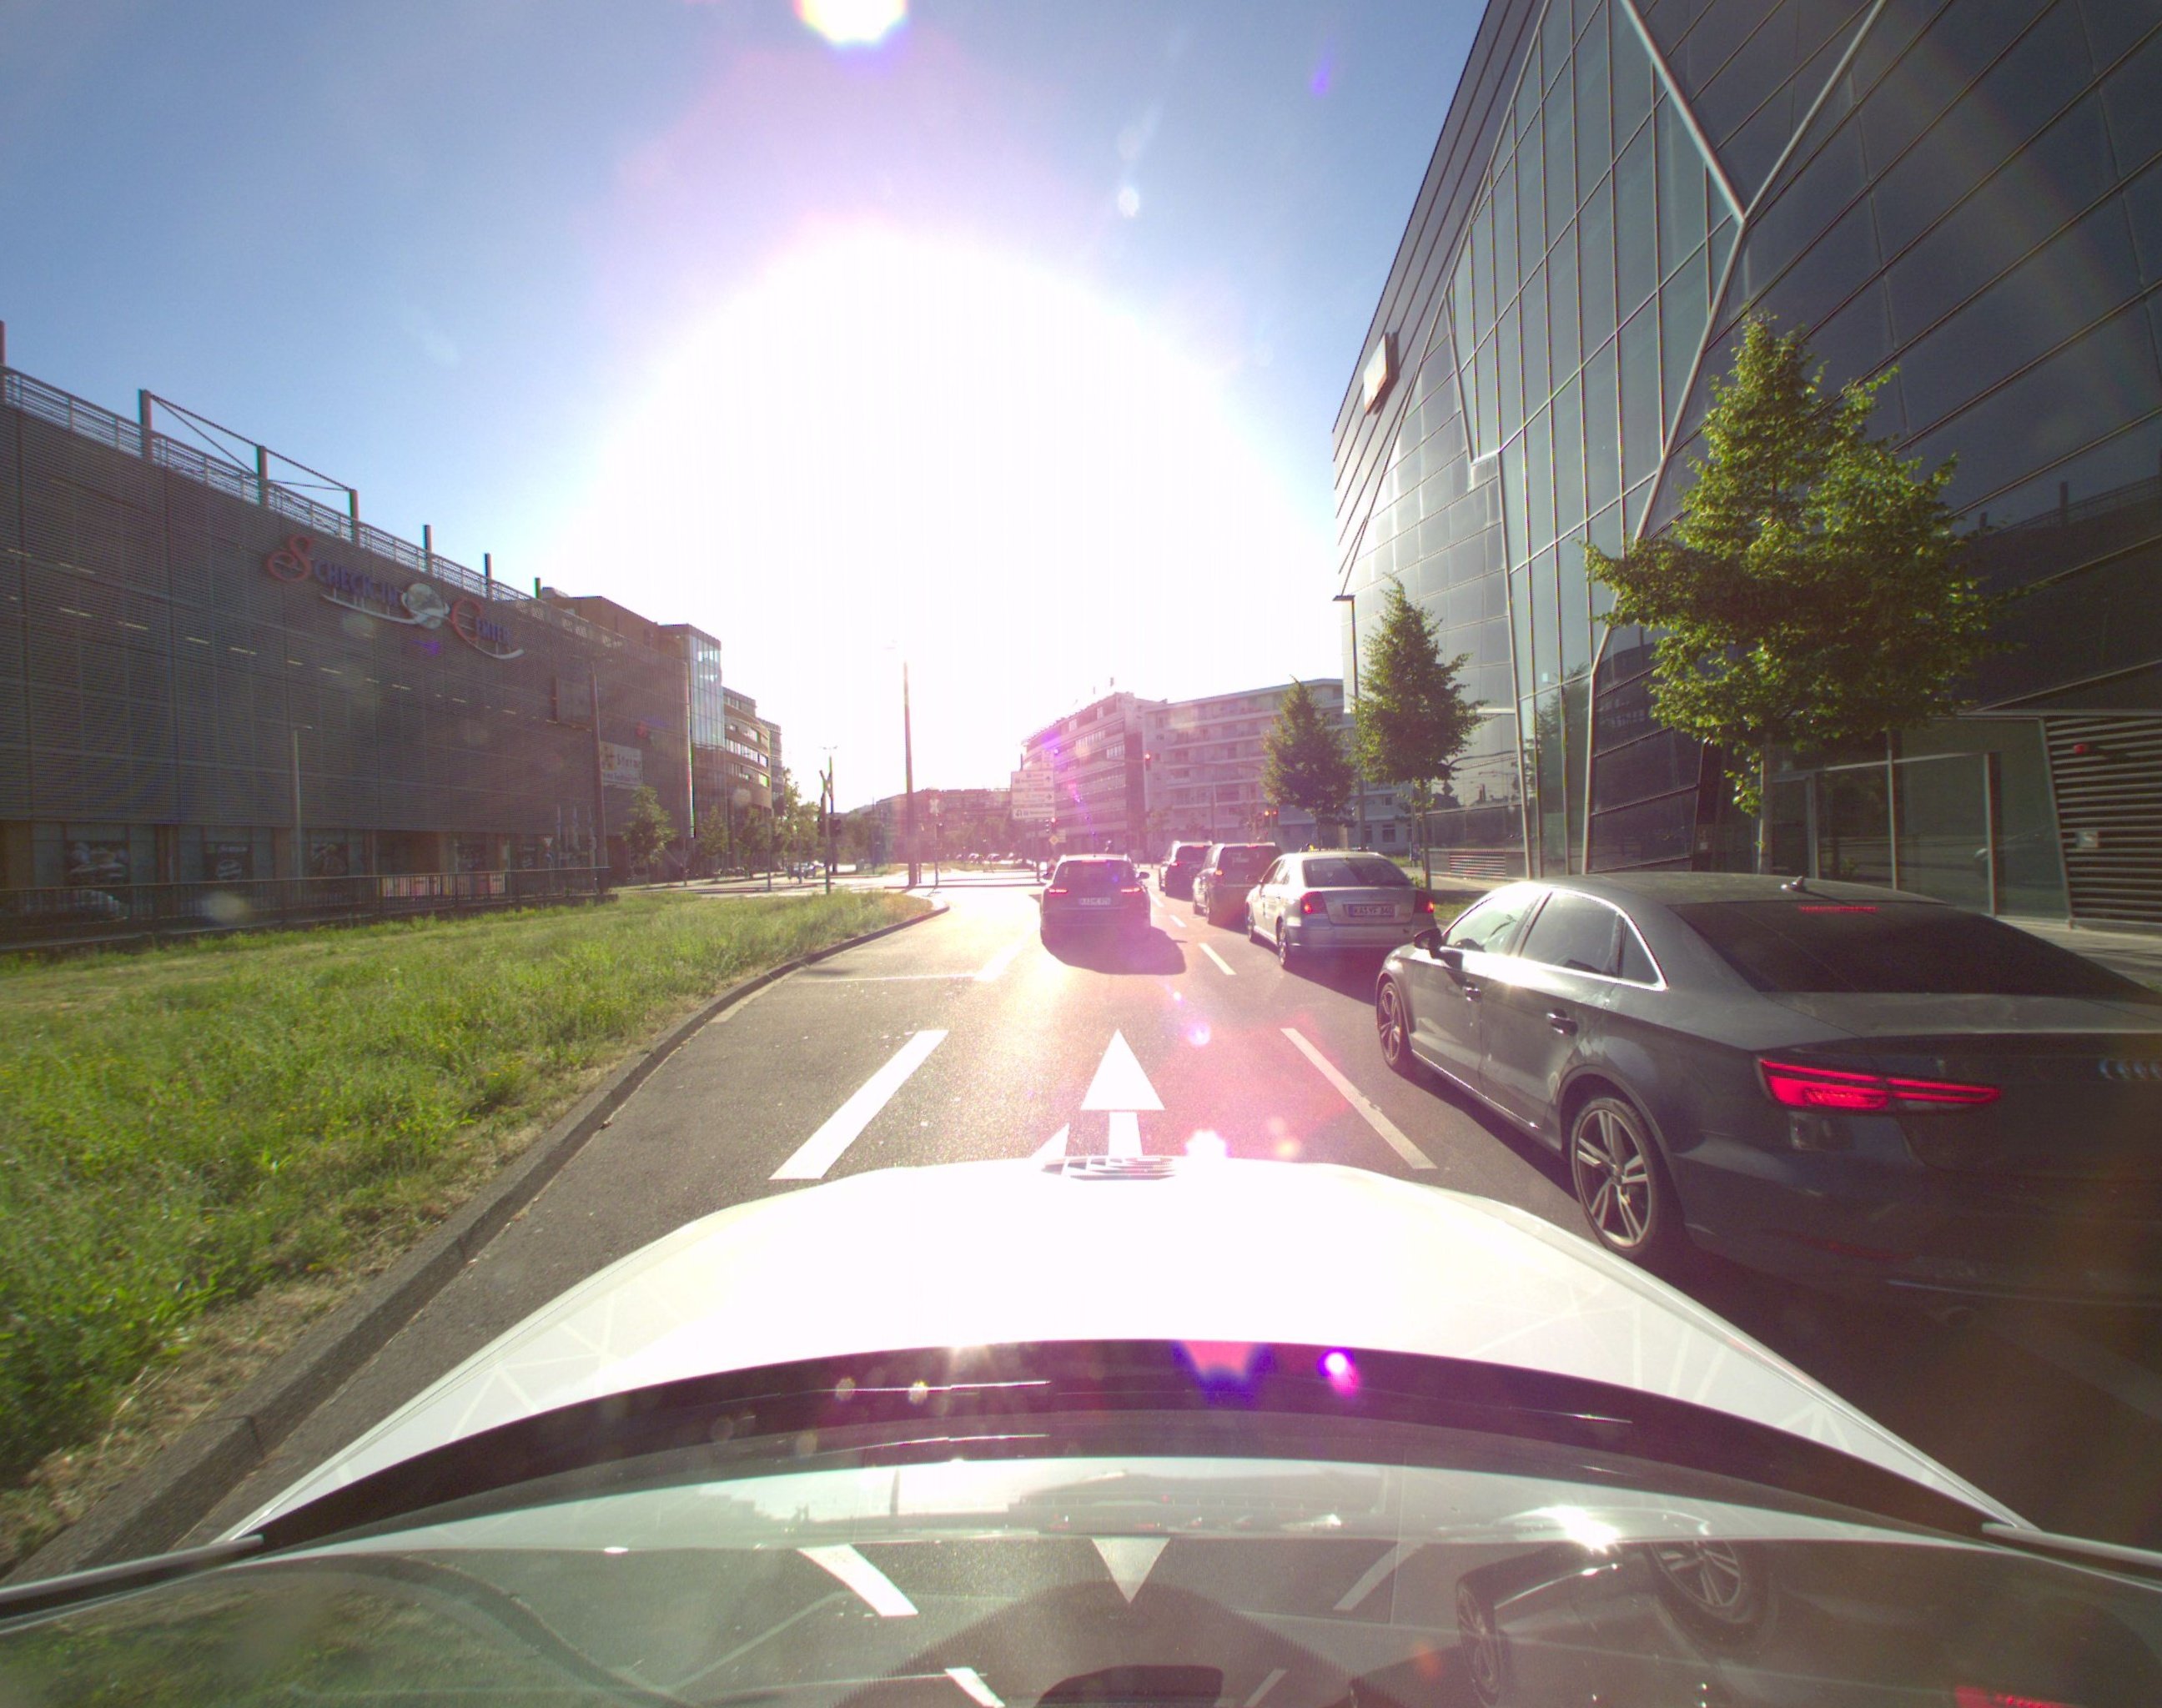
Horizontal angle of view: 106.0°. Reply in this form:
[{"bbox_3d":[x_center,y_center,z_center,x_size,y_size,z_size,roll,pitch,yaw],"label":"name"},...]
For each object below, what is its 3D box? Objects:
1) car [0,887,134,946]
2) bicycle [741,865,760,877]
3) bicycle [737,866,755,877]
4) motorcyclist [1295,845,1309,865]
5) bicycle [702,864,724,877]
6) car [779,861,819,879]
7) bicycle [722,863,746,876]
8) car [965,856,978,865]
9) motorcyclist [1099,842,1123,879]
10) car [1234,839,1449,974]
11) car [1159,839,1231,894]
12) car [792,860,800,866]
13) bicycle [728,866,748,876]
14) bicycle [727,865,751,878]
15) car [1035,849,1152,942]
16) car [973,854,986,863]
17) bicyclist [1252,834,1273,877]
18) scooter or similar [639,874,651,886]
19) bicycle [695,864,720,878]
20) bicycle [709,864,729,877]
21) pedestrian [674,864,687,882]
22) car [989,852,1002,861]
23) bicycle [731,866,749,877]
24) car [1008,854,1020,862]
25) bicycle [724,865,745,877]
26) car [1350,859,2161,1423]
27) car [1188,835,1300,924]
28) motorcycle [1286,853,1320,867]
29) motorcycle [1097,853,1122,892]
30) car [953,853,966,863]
[{"bbox_3d":[-31.128,1.831,23.721,1.985,1.500,4.246,-2,0,2],"label":"car"},{"bbox_3d":[-46.273,2.380,114.044,2.405,1.433,0.791,-3,-1,10],"label":"bicycle"},{"bbox_3d":[-46.440,2.421,112.872,2.125,1.433,0.761,-3,-1,10],"label":"bicycle"},{"bbox_3d":[17.456,0.067,64.309,0.920,1.481,1.174,-2,0,7],"label":"motorcyclist"},{"bbox_3d":[-42.863,1.906,94.840,2.070,1.433,0.863,-3,-1,10],"label":"bicycle"},{"bbox_3d":[-27.012,1.546,78.214,1.985,1.545,4.533,-2,0,3],"label":"car"},{"bbox_3d":[-42.523,1.928,99.758,2.546,1.433,0.907,-3,-1,10],"label":"bicycle"},{"bbox_3d":[-21.964,1.378,163.553,1.998,1.706,3.977,-3,-1,-16],"label":"car"},{"bbox_3d":[1.111,0.230,30.258,0.859,1.326,0.681,-2,0,2],"label":"motorcyclist"},{"bbox_3d":[3.387,0.592,11.547,1.739,1.481,4.631,-2,0,3],"label":"car"},{"bbox_3d":[3.778,0.385,27.687,1.995,1.715,4.374,0,0,2],"label":"car"},{"bbox_3d":[-77.745,2.486,222.091,1.658,1.588,3.331,-2,0,-25],"label":"car"},{"bbox_3d":[-46.286,2.358,109.978,2.399,1.236,0.747,-3,-1,10],"label":"bicycle"},{"bbox_3d":[-42.840,2.203,102.016,2.546,1.433,0.907,-3,-1,10],"label":"bicycle"},{"bbox_3d":[0.254,0.636,14.748,1.835,1.454,4.002,0,0,2],"label":"car"},{"bbox_3d":[-19.601,0.926,157.546,1.996,1.596,3.981,-3,-1,-13],"label":"car"},{"bbox_3d":[7.176,0.042,32.256,0.651,1.642,0.973,-2,0,5],"label":"bicyclist"},{"bbox_3d":[-42.100,2.538,78.606,0.419,1.110,1.153,-3,-1,3],"label":"scooter or similar"},{"bbox_3d":[-42.961,1.959,93.798,2.355,1.433,1.079,-3,-1,10],"label":"bicycle"},{"bbox_3d":[-42.680,1.909,95.977,1.965,1.433,0.809,-3,-1,10],"label":"bicycle"},{"bbox_3d":[-41.367,1.998,84.186,0.823,1.824,0.905,-3,-1,3],"label":"pedestrian"},{"bbox_3d":[-16.319,0.538,155.163,1.996,1.596,3.981,-3,-1,-13],"label":"car"},{"bbox_3d":[-46.402,2.346,110.832,2.231,1.433,0.720,-3,-1,10],"label":"bicycle"},{"bbox_3d":[-13.781,0.783,167.640,1.995,1.596,3.982,-3,-1,-12],"label":"car"},{"bbox_3d":[-46.178,2.228,108.547,2.591,1.433,0.773,-3,-1,10],"label":"bicycle"},{"bbox_3d":[2.842,0.749,4.207,1.738,1.392,4.269,-1,0,4],"label":"car"},{"bbox_3d":[3.406,0.493,17.752,1.739,1.696,4.263,-1,0,2],"label":"car"},{"bbox_3d":[17.517,0.450,64.310,2.440,1.000,1.174,-2,0,6],"label":"motorcycle"},{"bbox_3d":[1.074,0.663,30.390,0.859,1.393,1.894,-2,0,2],"label":"motorcycle"},{"bbox_3d":[-24.293,0.811,163.075,1.998,1.706,3.977,-3,-1,-16],"label":"car"}]
